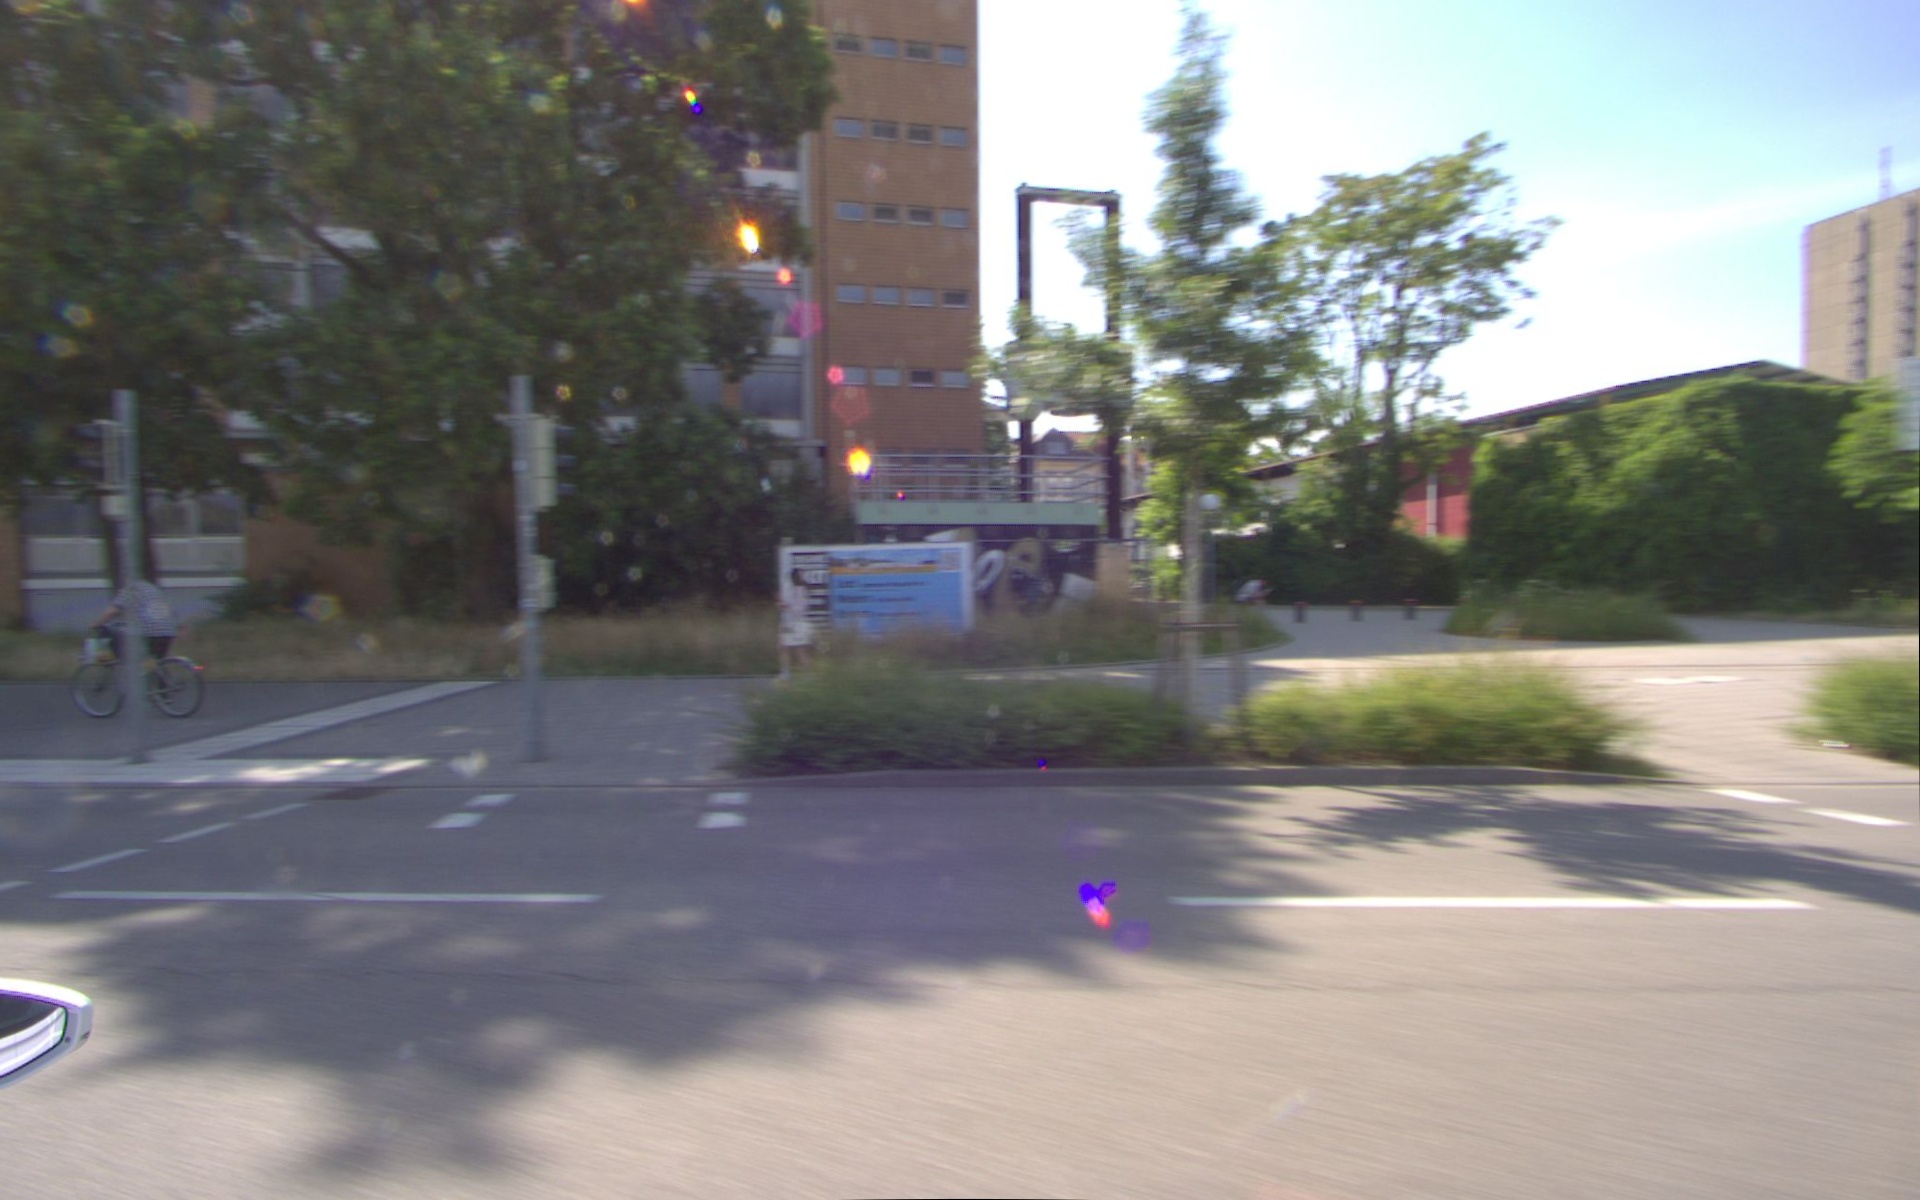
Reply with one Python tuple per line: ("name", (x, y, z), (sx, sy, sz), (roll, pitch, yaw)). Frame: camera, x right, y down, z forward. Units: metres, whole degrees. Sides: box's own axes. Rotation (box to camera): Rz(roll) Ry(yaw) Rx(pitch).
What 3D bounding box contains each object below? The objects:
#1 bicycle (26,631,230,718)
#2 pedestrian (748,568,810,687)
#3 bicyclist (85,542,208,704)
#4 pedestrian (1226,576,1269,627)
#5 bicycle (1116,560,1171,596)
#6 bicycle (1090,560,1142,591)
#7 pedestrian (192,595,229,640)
("bicycle", (-10.203, 0.900, 12.320), (1.920, 0.960, 0.694), (-1, 4, 3))
("pedestrian", (-2.506, 0.370, 13.908), (0.798, 1.601, 0.691), (-1, 2, -9))
("bicyclist", (-9.961, 0.272, 12.288), (0.843, 1.904, 0.687), (-2, 2, 4))
("pedestrian", (7.151, 0.033, 24.944), (0.780, 1.230, 0.757), (2, 1, -4))
("bicycle", (9.813, -1.175, 53.454), (2.779, 1.862, 0.840), (-1, 2, -12))
("bicycle", (8.857, -1.403, 56.737), (2.779, 1.672, 0.840), (-1, 2, -12))
("pedestrian", (-15.229, 0.349, 20.343), (0.421, 0.904, 0.393), (-1, 2, -2))
